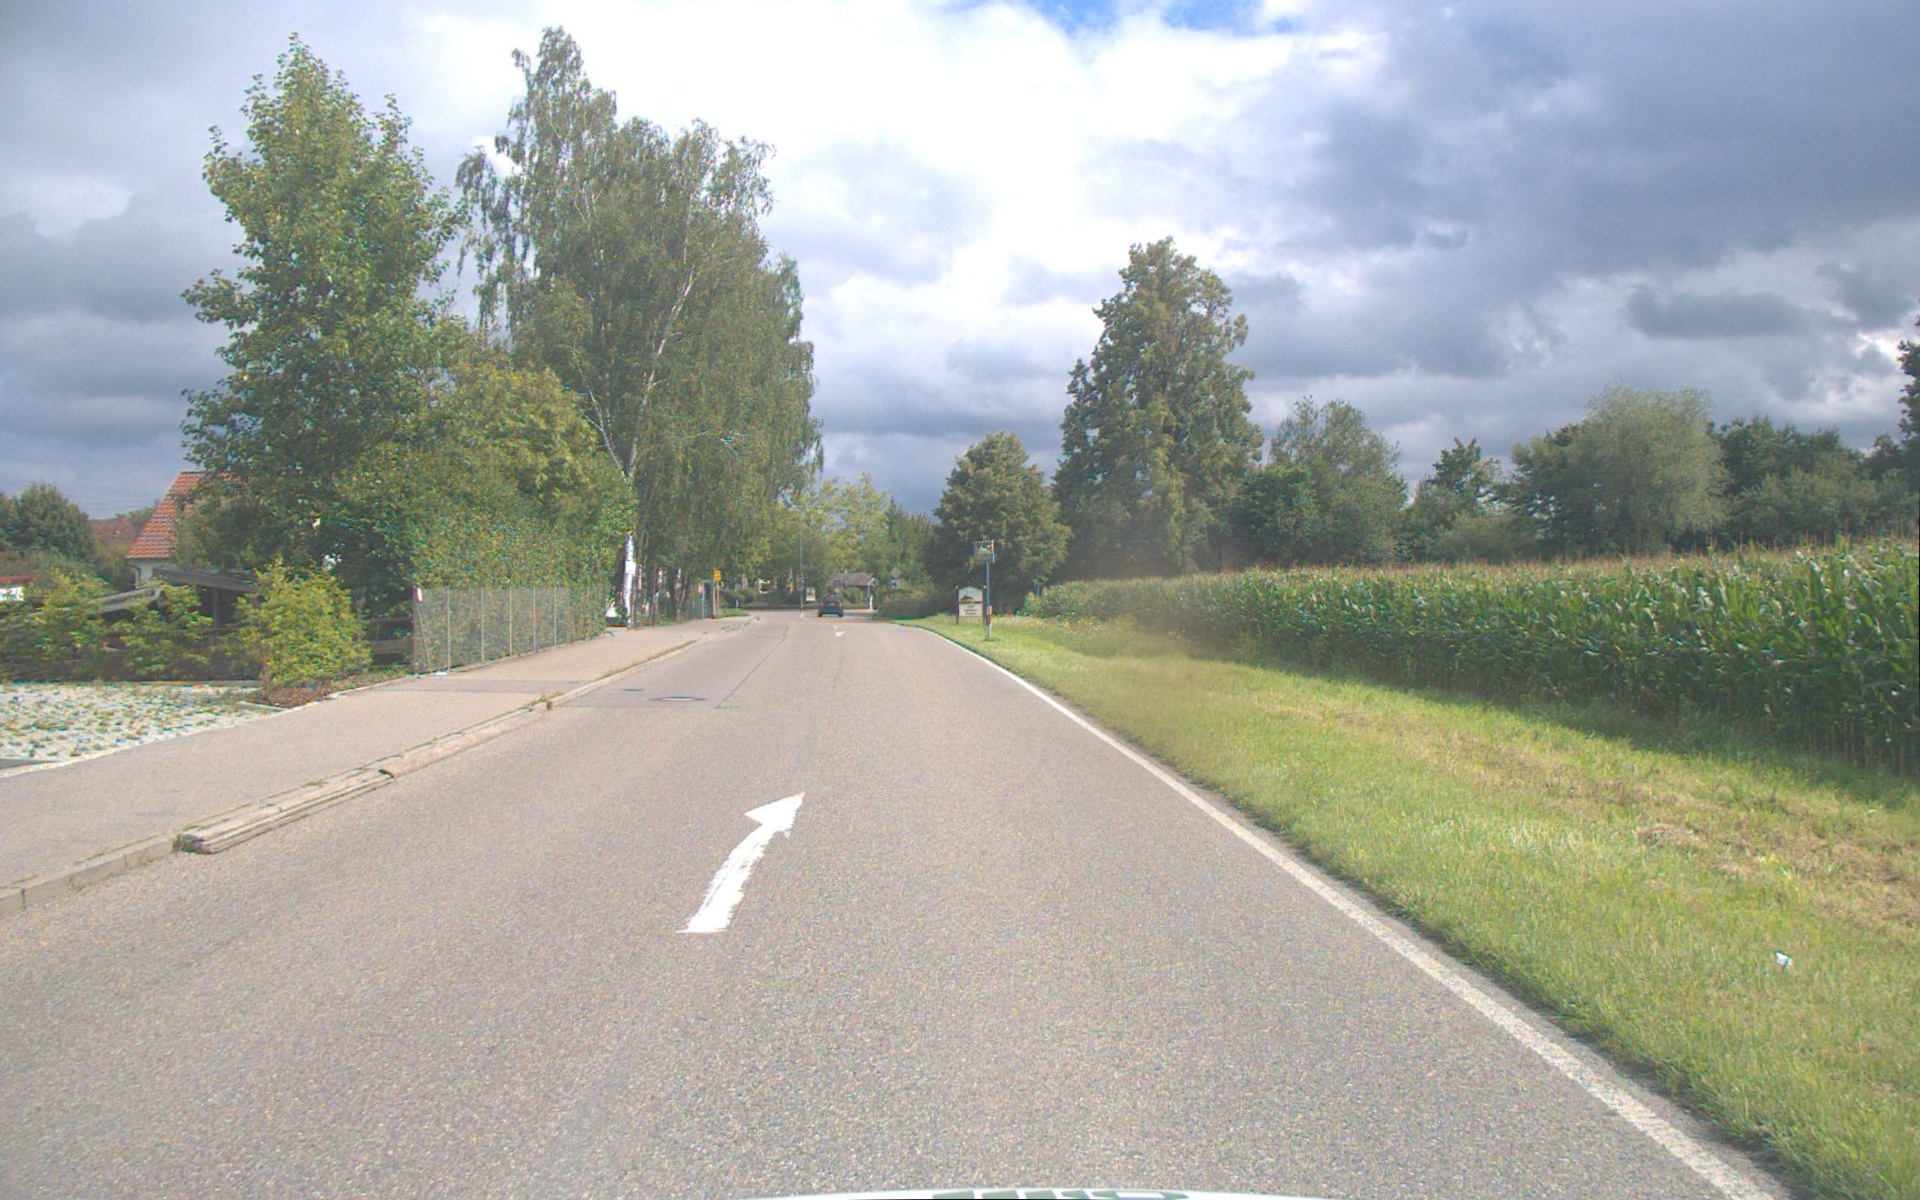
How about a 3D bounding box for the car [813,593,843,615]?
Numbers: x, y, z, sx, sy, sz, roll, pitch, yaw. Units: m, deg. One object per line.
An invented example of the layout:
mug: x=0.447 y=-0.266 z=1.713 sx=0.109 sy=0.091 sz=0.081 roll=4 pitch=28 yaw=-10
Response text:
car: x=-10.077 y=0.317 z=126.217 sx=1.957 sy=1.612 sz=3.991 roll=0 pitch=0 yaw=-9
